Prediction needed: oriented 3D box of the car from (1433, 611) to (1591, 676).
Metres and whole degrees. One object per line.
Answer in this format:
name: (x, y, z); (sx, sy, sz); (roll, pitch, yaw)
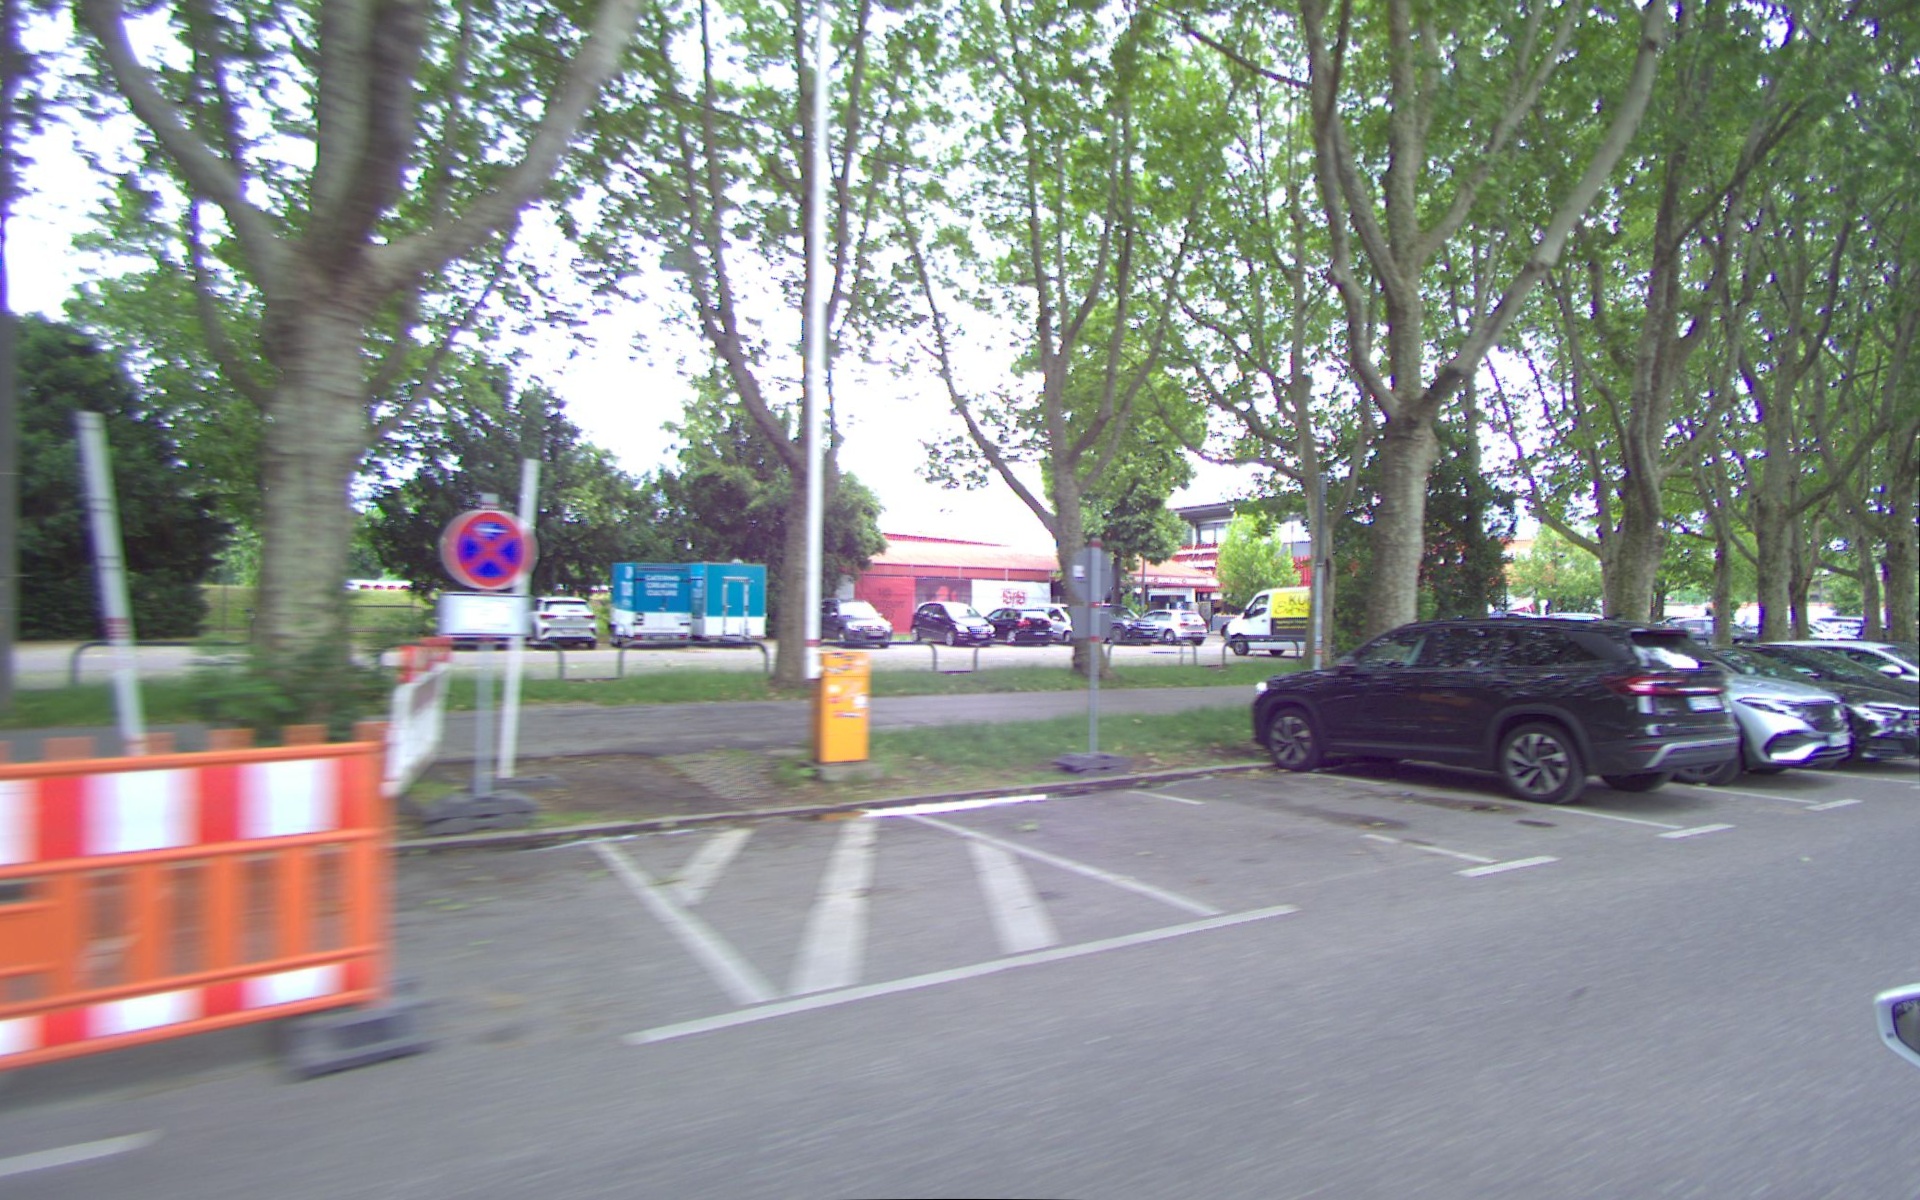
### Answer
car: (21.353, 1.613, 39.124); (2.147, 2.262, 5.059); (1, 0, -26)

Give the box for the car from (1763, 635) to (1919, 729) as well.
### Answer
car: (15.988, 1.340, 16.673); (1.640, 1.503, 3.803); (1, -3, -25)

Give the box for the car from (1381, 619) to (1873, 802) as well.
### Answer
car: (7.424, 1.138, 11.720); (1.742, 1.698, 4.449); (1, -3, -31)

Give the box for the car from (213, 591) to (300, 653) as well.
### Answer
car: (-18.967, 0.546, 27.201); (1.660, 1.506, 3.782); (1, 0, -31)

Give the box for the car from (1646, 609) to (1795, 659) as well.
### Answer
car: (34.902, 1.504, 46.285); (2.147, 2.042, 5.059); (1, 0, -26)

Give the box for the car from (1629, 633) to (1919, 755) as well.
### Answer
car: (11.783, 1.228, 13.959); (1.643, 1.503, 3.795); (1, -3, -31)

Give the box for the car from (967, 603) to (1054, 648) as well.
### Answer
car: (1.937, 0.984, 39.508); (1.519, 1.611, 3.734); (1, 0, -32)

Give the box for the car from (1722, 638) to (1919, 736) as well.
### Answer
car: (14.000, 1.265, 15.026); (1.639, 1.371, 3.804); (1, -3, -25)

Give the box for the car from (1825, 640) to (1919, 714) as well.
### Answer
car: (18.303, 1.384, 18.064); (1.639, 1.348, 3.804); (1, -3, -25)

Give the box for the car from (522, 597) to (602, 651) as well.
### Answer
car: (-12.371, 0.699, 31.106); (1.693, 1.506, 3.782); (1, 0, -31)

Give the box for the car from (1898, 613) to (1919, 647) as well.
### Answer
car: (59.638, 1.856, 59.813); (2.147, 2.042, 5.059); (1, 0, -26)

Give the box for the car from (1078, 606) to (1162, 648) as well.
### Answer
car: (6.661, 1.116, 42.183); (1.669, 1.611, 3.979); (1, 0, -21)

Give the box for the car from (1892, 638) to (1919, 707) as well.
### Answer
car: (22.279, 1.518, 20.950); (1.639, 1.503, 3.804); (1, -3, -25)

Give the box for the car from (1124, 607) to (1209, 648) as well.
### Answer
car: (8.855, 1.154, 43.377); (1.669, 1.611, 3.979); (1, 0, -21)

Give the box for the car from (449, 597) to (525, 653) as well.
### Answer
car: (-14.243, 0.706, 30.155); (1.660, 1.506, 3.782); (1, 0, -31)

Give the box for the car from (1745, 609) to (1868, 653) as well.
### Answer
car: (43.446, 1.545, 51.647); (2.147, 2.042, 4.336); (1, 0, -27)

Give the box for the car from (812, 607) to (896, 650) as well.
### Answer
car: (-3.808, 0.978, 35.503); (1.518, 1.368, 3.735); (1, 0, -31)

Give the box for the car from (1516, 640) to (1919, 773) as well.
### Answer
car: (9.697, 1.227, 12.853); (1.850, 1.399, 4.146); (1, -3, -31)

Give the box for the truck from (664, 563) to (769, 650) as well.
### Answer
truck: (-8.579, 0.178, 35.035); (2.180, 2.779, 5.211); (1, 0, -30)

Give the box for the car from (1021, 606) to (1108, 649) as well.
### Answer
car: (4.189, 1.079, 40.614); (1.519, 1.611, 3.734); (1, 0, -32)

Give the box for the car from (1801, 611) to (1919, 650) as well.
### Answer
car: (52.070, 1.714, 57.890); (2.147, 2.042, 5.059); (1, 0, -26)

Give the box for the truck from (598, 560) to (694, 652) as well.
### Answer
truck: (-10.450, 0.150, 33.153); (1.905, 2.779, 5.287); (1, 0, -30)

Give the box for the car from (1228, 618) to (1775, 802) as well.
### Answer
car: (5.219, 0.985, 10.427); (1.978, 1.446, 4.641); (1, -3, -31)

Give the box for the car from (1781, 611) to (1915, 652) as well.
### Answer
car: (48.548, 1.666, 55.068); (2.147, 2.042, 5.059); (1, 0, -26)

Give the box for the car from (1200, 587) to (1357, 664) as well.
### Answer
car: (10.151, 0.752, 32.462); (1.518, 2.262, 5.051); (1, 0, -31)

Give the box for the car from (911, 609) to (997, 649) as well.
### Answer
car: (-0.279, 1.085, 38.368); (1.519, 1.368, 3.734); (1, 0, -32)

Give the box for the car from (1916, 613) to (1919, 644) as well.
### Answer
car: (65.009, 1.941, 64.333); (2.147, 2.042, 5.059); (1, 0, -26)

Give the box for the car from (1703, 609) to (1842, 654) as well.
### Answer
car: (41.055, 1.528, 50.924); (2.147, 2.042, 5.059); (1, 0, -26)

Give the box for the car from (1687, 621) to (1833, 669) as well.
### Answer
car: (38.328, 2.101, 48.274); (2.147, 2.042, 5.059); (1, 0, -26)

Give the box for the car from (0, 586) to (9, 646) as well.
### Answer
car: (-24.291, 0.399, 23.879); (1.660, 1.506, 3.782); (1, 0, -31)
